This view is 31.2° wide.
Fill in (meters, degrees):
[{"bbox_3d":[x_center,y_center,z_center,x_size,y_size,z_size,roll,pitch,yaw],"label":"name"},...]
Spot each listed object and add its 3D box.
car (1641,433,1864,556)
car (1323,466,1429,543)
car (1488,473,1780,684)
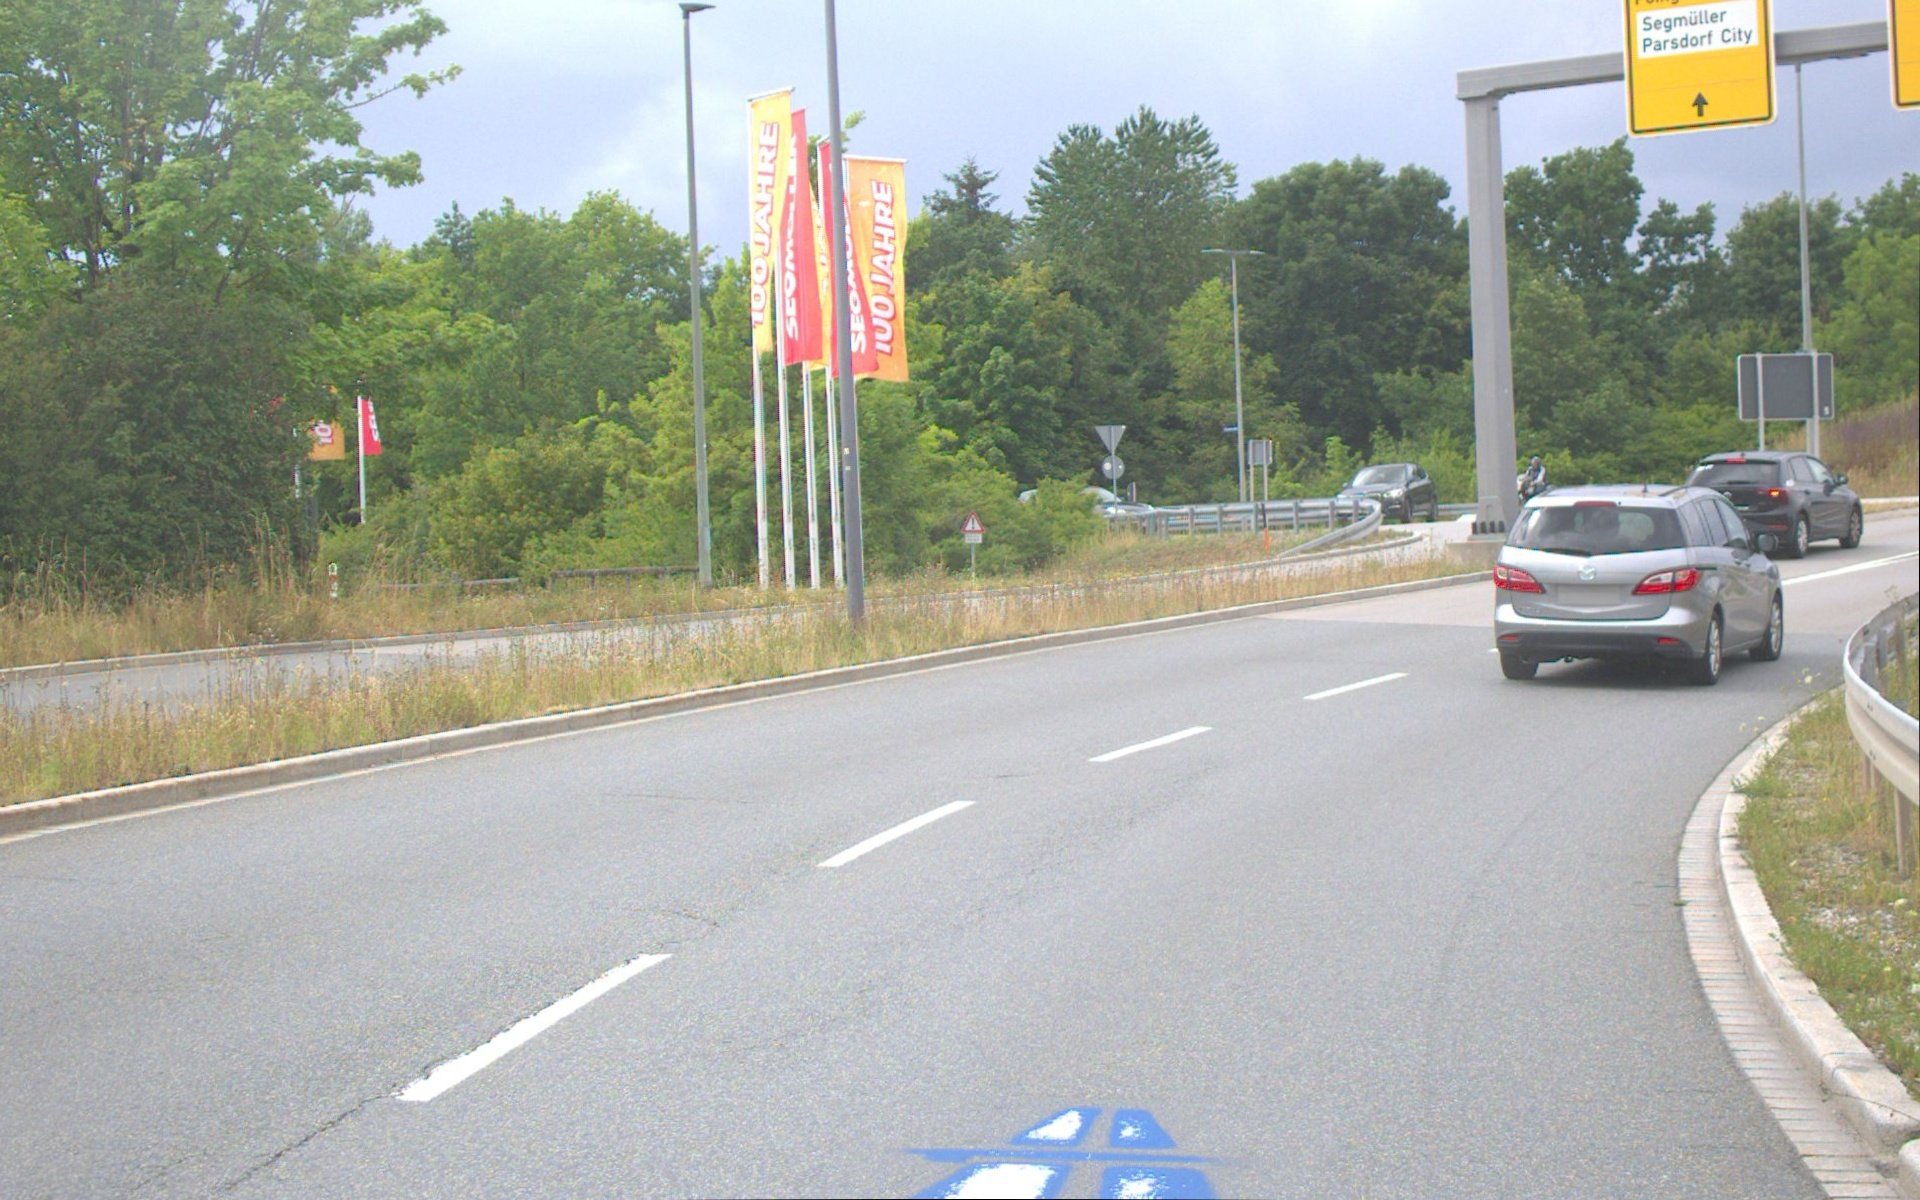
[{"bbox_3d":[10.966,-1.474,47.420,1.872,1.599,3.728,3,3,32],"label":"car"},{"bbox_3d":[10.720,-2.473,88.368,1.855,1.659,4.160,-4,2,18],"label":"car"},{"bbox_3d":[5.733,-0.212,28.907,1.769,1.611,3.918,-2,1,20],"label":"car"}]
